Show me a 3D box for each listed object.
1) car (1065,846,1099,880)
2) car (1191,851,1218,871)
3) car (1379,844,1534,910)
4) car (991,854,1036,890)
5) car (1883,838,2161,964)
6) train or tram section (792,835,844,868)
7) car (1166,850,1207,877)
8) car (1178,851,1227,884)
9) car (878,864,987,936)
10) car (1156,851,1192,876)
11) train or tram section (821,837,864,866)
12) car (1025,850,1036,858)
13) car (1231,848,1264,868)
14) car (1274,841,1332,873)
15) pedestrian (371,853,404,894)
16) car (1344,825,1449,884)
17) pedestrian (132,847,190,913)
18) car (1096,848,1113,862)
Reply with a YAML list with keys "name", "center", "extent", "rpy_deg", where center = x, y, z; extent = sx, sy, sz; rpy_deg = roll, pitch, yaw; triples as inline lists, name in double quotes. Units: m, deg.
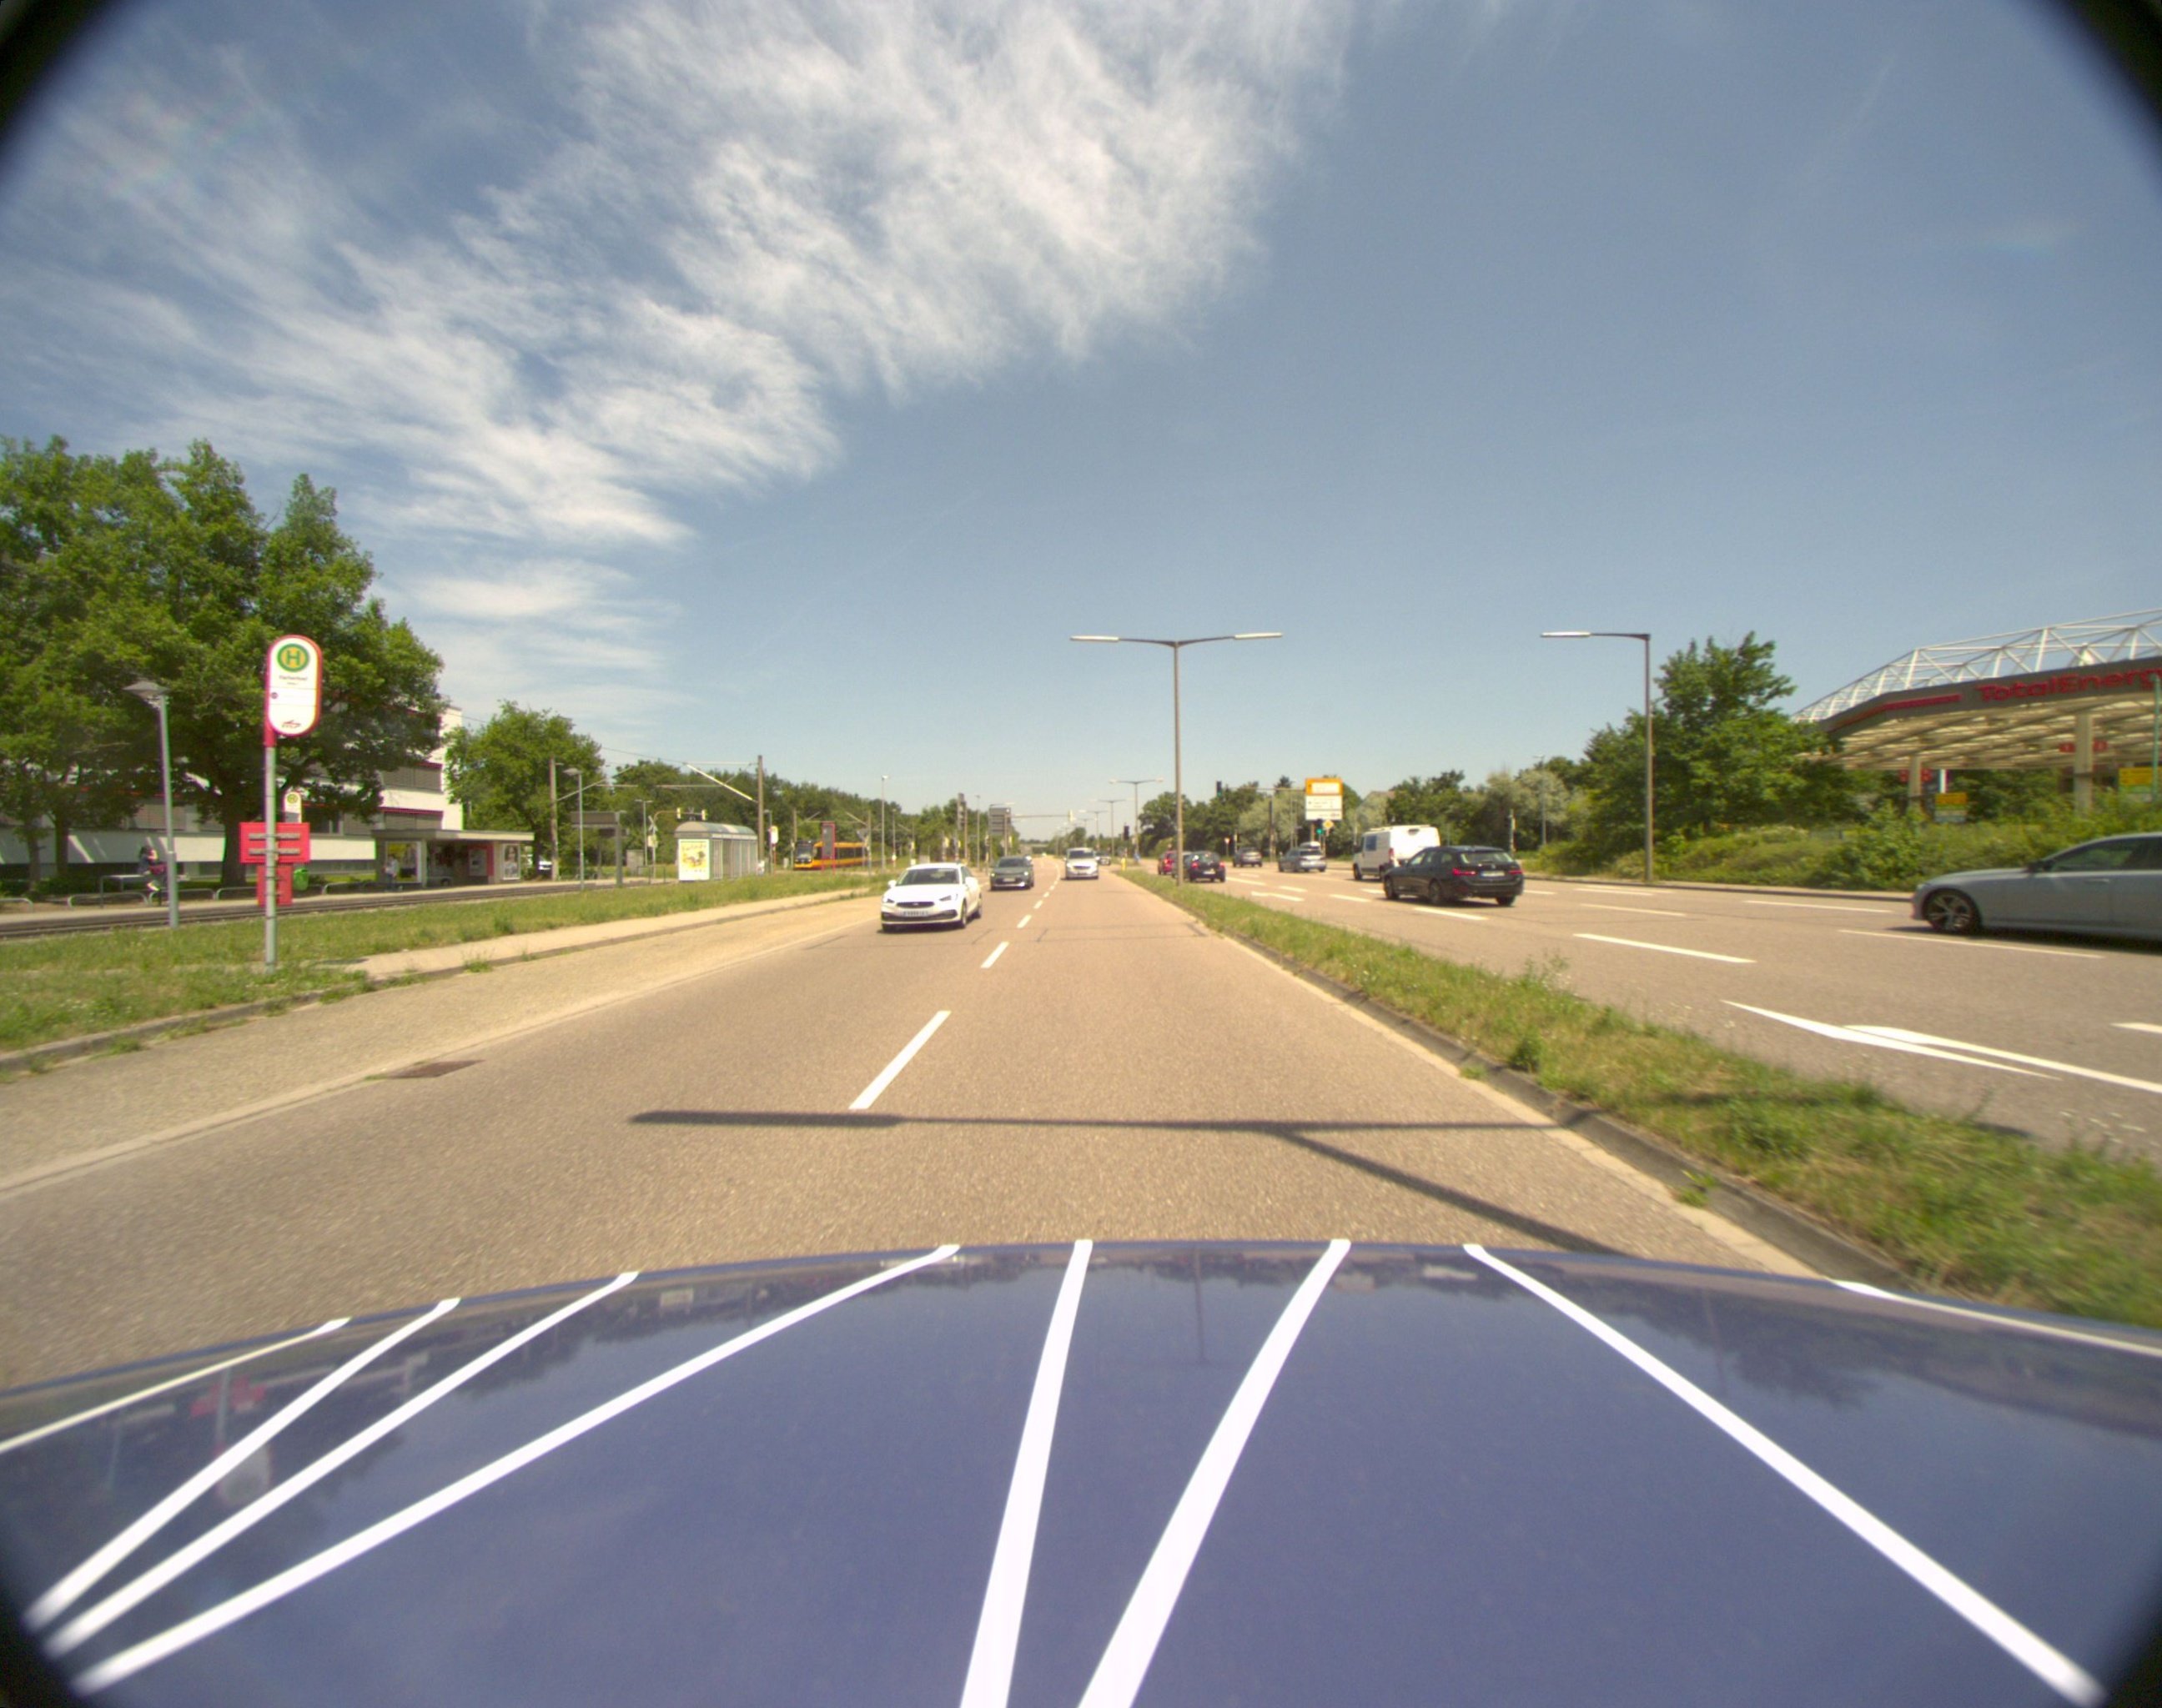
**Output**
- name: "car"
  center: [0.042, 0.491, 46.378]
  extent: [1.876, 1.866, 5.731]
  rpy_deg: [-2, 0, -1]
- name: "car"
  center: [9.646, 0.517, 59.580]
  extent: [1.451, 1.437, 3.505]
  rpy_deg: [-2, 0, 0]
- name: "car"
  center: [9.305, 0.511, 19.304]
  extent: [1.735, 1.449, 4.564]
  rpy_deg: [-1, 0, 1]
- name: "car"
  center: [-3.107, 0.797, 35.651]
  extent: [1.723, 1.587, 4.000]
  rpy_deg: [0, 0, 1]
- name: "car"
  center: [13.316, 0.526, 9.320]
  extent: [1.835, 1.441, 4.851]
  rpy_deg: [-1, 0, 0]
- name: "train or tram section"
  center: [-30.967, -0.321, 90.045]
  extent: [2.822, 3.561, 12.495]
  rpy_deg: [-1, 0, -5]
- name: "car"
  center: [5.817, 0.513, 42.274]
  extent: [1.565, 1.415, 3.853]
  rpy_deg: [-2, 0, -2]
- name: "car"
  center: [5.778, 0.594, 36.570]
  extent: [1.680, 1.426, 4.191]
  rpy_deg: [-2, 0, 1]
- name: "car"
  center: [-3.346, 0.982, 17.943]
  extent: [1.686, 1.381, 4.450]
  rpy_deg: [-1, 0, 0]
- name: "car"
  center: [5.946, 0.587, 49.046]
  extent: [1.663, 1.482, 3.999]
  rpy_deg: [-1, 0, -2]
- name: "train or tram section"
  center: [-31.991, -0.345, 102.524]
  extent: [2.822, 3.561, 12.495]
  rpy_deg: [-1, 0, -4]
- name: "car"
  center: [-10.473, 0.053, 158.657]
  extent: [1.998, 1.652, 4.000]
  rpy_deg: [-1, 0, 1]
- name: "car"
  center: [13.449, 0.279, 61.648]
  extent: [1.663, 1.530, 3.999]
  rpy_deg: [-2, 0, -2]
- name: "car"
  center: [13.306, 0.145, 45.925]
  extent: [1.970, 1.740, 5.021]
  rpy_deg: [-2, 1, 0]
- name: "pedestrian"
  center: [-27.628, 0.766, 30.275]
  extent: [0.553, 1.599, 0.690]
  rpy_deg: [-2, 2, 1]
- name: "car"
  center: [13.409, -0.003, 32.774]
  extent: [2.255, 2.260, 5.448]
  rpy_deg: [-2, 1, 1]
- name: "pedestrian"
  center: [-26.569, 0.733, 21.953]
  extent: [0.696, 1.831, 0.711]
  rpy_deg: [-3, 2, -15]
- name: "car"
  center: [2.797, 0.111, 92.172]
  extent: [1.785, 1.658, 4.530]
  rpy_deg: [-1, 0, -2]
